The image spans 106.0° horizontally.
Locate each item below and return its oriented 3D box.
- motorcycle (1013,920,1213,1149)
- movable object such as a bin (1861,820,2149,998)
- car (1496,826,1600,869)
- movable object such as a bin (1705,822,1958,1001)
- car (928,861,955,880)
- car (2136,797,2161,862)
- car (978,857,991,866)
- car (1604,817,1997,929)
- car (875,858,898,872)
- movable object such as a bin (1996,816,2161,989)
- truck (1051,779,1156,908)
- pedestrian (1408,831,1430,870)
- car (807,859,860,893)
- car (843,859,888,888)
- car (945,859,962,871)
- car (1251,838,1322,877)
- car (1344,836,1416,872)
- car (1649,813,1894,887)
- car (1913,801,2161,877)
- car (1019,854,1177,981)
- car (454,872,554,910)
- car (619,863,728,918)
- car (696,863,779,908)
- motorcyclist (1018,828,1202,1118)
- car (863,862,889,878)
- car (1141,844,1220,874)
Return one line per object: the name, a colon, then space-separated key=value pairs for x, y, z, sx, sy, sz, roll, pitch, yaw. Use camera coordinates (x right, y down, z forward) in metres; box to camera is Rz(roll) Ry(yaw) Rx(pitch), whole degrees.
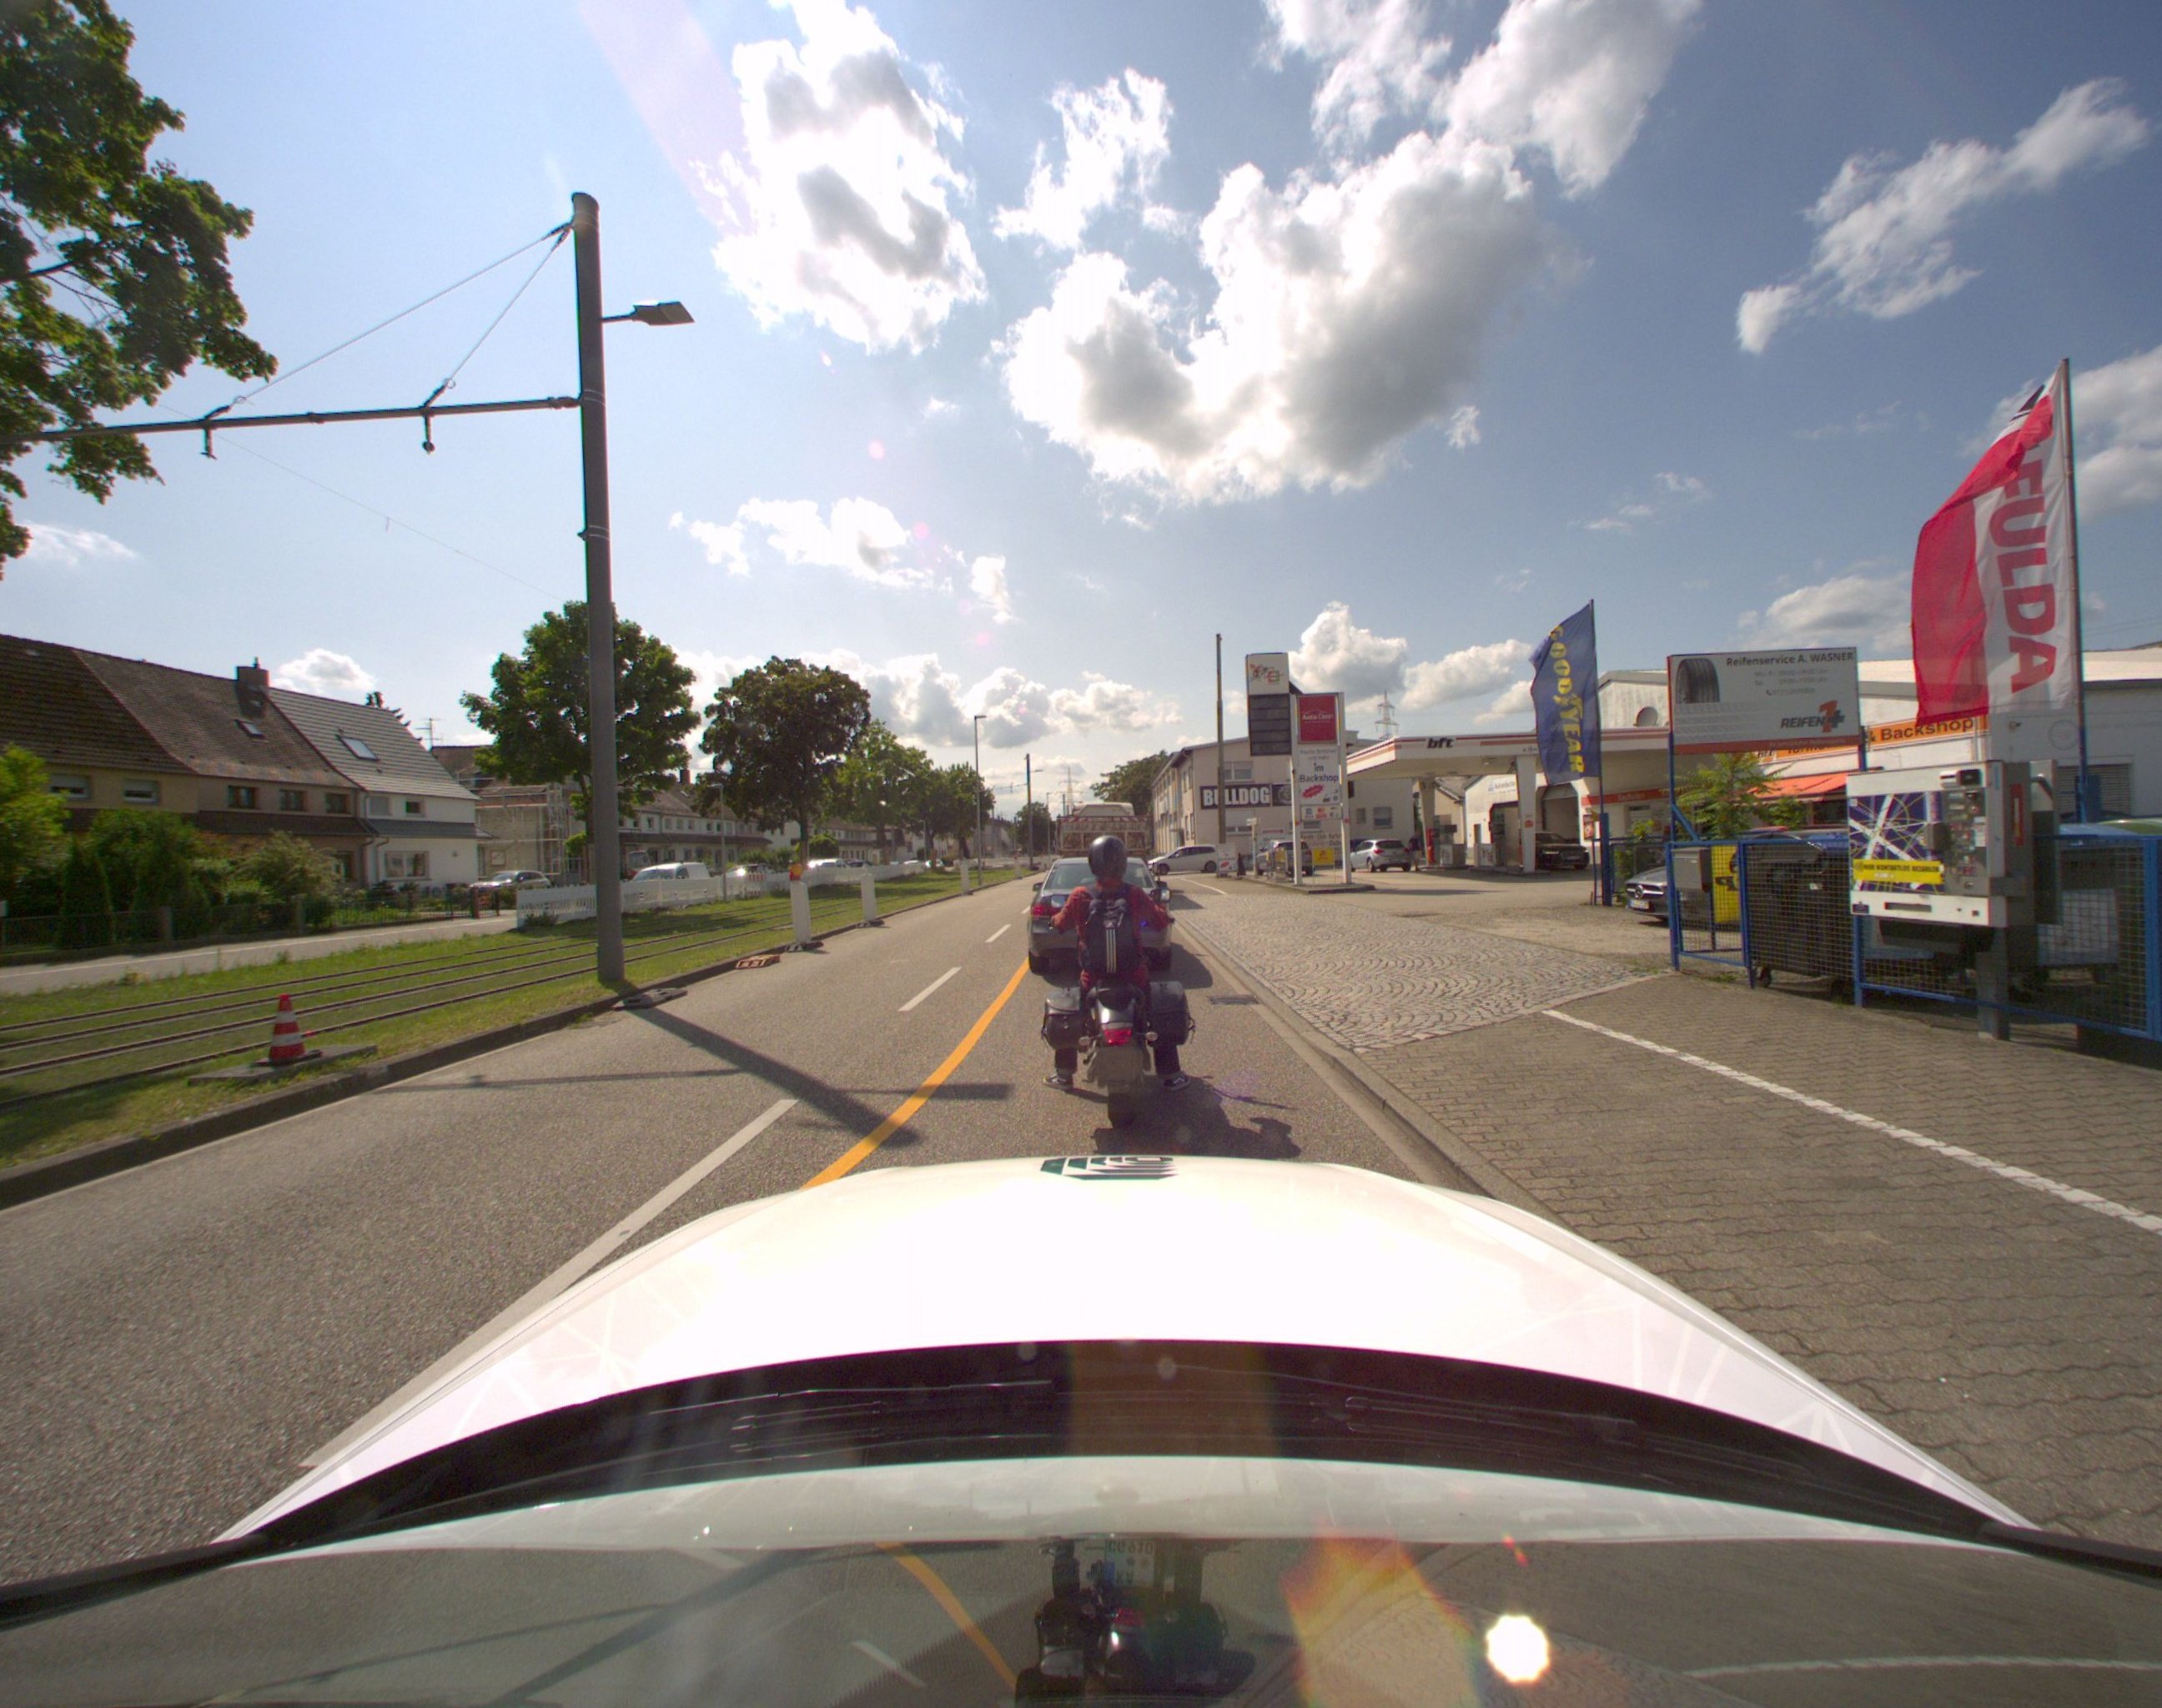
motorcycle: x=0.204 y=1.021 z=5.448 sx=0.975 sy=0.897 sz=2.654 roll=-2 pitch=0 yaw=2
movable object such as a bin: x=8.084 y=0.441 z=7.221 sx=1.104 sy=1.396 sz=1.244 roll=-2 pitch=0 yaw=1
car: x=17.990 y=-0.250 z=31.566 sx=1.800 sy=1.503 sz=3.833 roll=-2 pitch=0 yaw=0
movable object such as a bin: x=6.689 y=0.474 z=7.361 sx=1.104 sy=1.436 sz=1.244 roll=-2 pitch=0 yaw=1
car: x=-13.721 y=1.631 z=80.459 sx=1.769 sy=1.722 sz=4.130 roll=-2 pitch=0 yaw=2
car: x=26.527 y=-0.639 z=18.002 sx=4.180 sy=1.463 sz=1.587 roll=-2 pitch=0 yaw=2
car: x=-19.081 y=1.534 z=161.359 sx=1.769 sy=1.722 sz=4.252 roll=-2 pitch=0 yaw=2
car: x=10.669 y=0.276 z=12.369 sx=4.250 sy=1.415 sz=1.677 roll=-3 pitch=0 yaw=7
car: x=-25.151 y=1.402 z=105.209 sx=1.769 sy=1.722 sz=4.130 roll=-2 pitch=0 yaw=2
movable object such as a bin: x=9.486 y=0.371 z=7.133 sx=1.397 sy=1.396 sz=1.338 roll=-2 pitch=0 yaw=1
truck: x=0.729 y=-0.291 z=25.503 sx=2.628 sy=3.296 sz=8.059 roll=-2 pitch=0 yaw=2
pedestrian: x=14.655 y=-0.133 z=35.320 sx=0.701 sy=1.656 sz=0.551 roll=-2 pitch=0 yaw=37
car: x=-15.060 y=1.325 z=49.866 sx=1.769 sy=1.867 sz=4.130 roll=-2 pitch=0 yaw=2
car: x=-14.800 y=1.333 z=56.043 sx=1.769 sy=1.805 sz=4.130 roll=-2 pitch=0 yaw=2
car: x=-19.622 y=1.636 z=125.922 sx=1.769 sy=1.722 sz=4.130 roll=-2 pitch=0 yaw=2
car: x=9.119 y=0.148 z=36.455 sx=1.665 sy=1.562 sz=4.235 roll=-2 pitch=0 yaw=-6
car: x=13.479 y=-0.010 z=36.921 sx=1.800 sy=1.503 sz=3.832 roll=-2 pitch=0 yaw=-1
car: x=15.775 y=-0.091 z=18.759 sx=4.180 sy=1.463 sz=1.587 roll=-2 pitch=0 yaw=2
car: x=21.523 y=-0.342 z=18.166 sx=4.180 sy=1.463 sz=1.587 roll=-2 pitch=0 yaw=2
car: x=0.259 y=0.738 z=11.448 sx=1.816 sy=1.452 sz=4.002 roll=0 pitch=0 yaw=2
car: x=-27.434 y=1.722 z=38.900 sx=1.769 sy=1.519 sz=4.002 roll=-2 pitch=0 yaw=2
car: x=-15.462 y=1.313 z=31.161 sx=1.769 sy=1.821 sz=4.366 roll=-2 pitch=0 yaw=2
car: x=-15.405 y=1.368 z=36.803 sx=1.769 sy=1.774 sz=4.230 roll=-2 pitch=0 yaw=2
motorcyclist: x=0.180 y=0.672 z=5.144 sx=0.975 sy=1.602 sz=1.088 roll=-2 pitch=0 yaw=1
car: x=-24.380 y=1.839 z=97.048 sx=1.769 sy=1.722 sz=4.130 roll=-2 pitch=0 yaw=2
car: x=5.710 y=0.289 z=47.051 sx=4.225 sy=1.543 sz=1.669 roll=-2 pitch=0 yaw=-7
